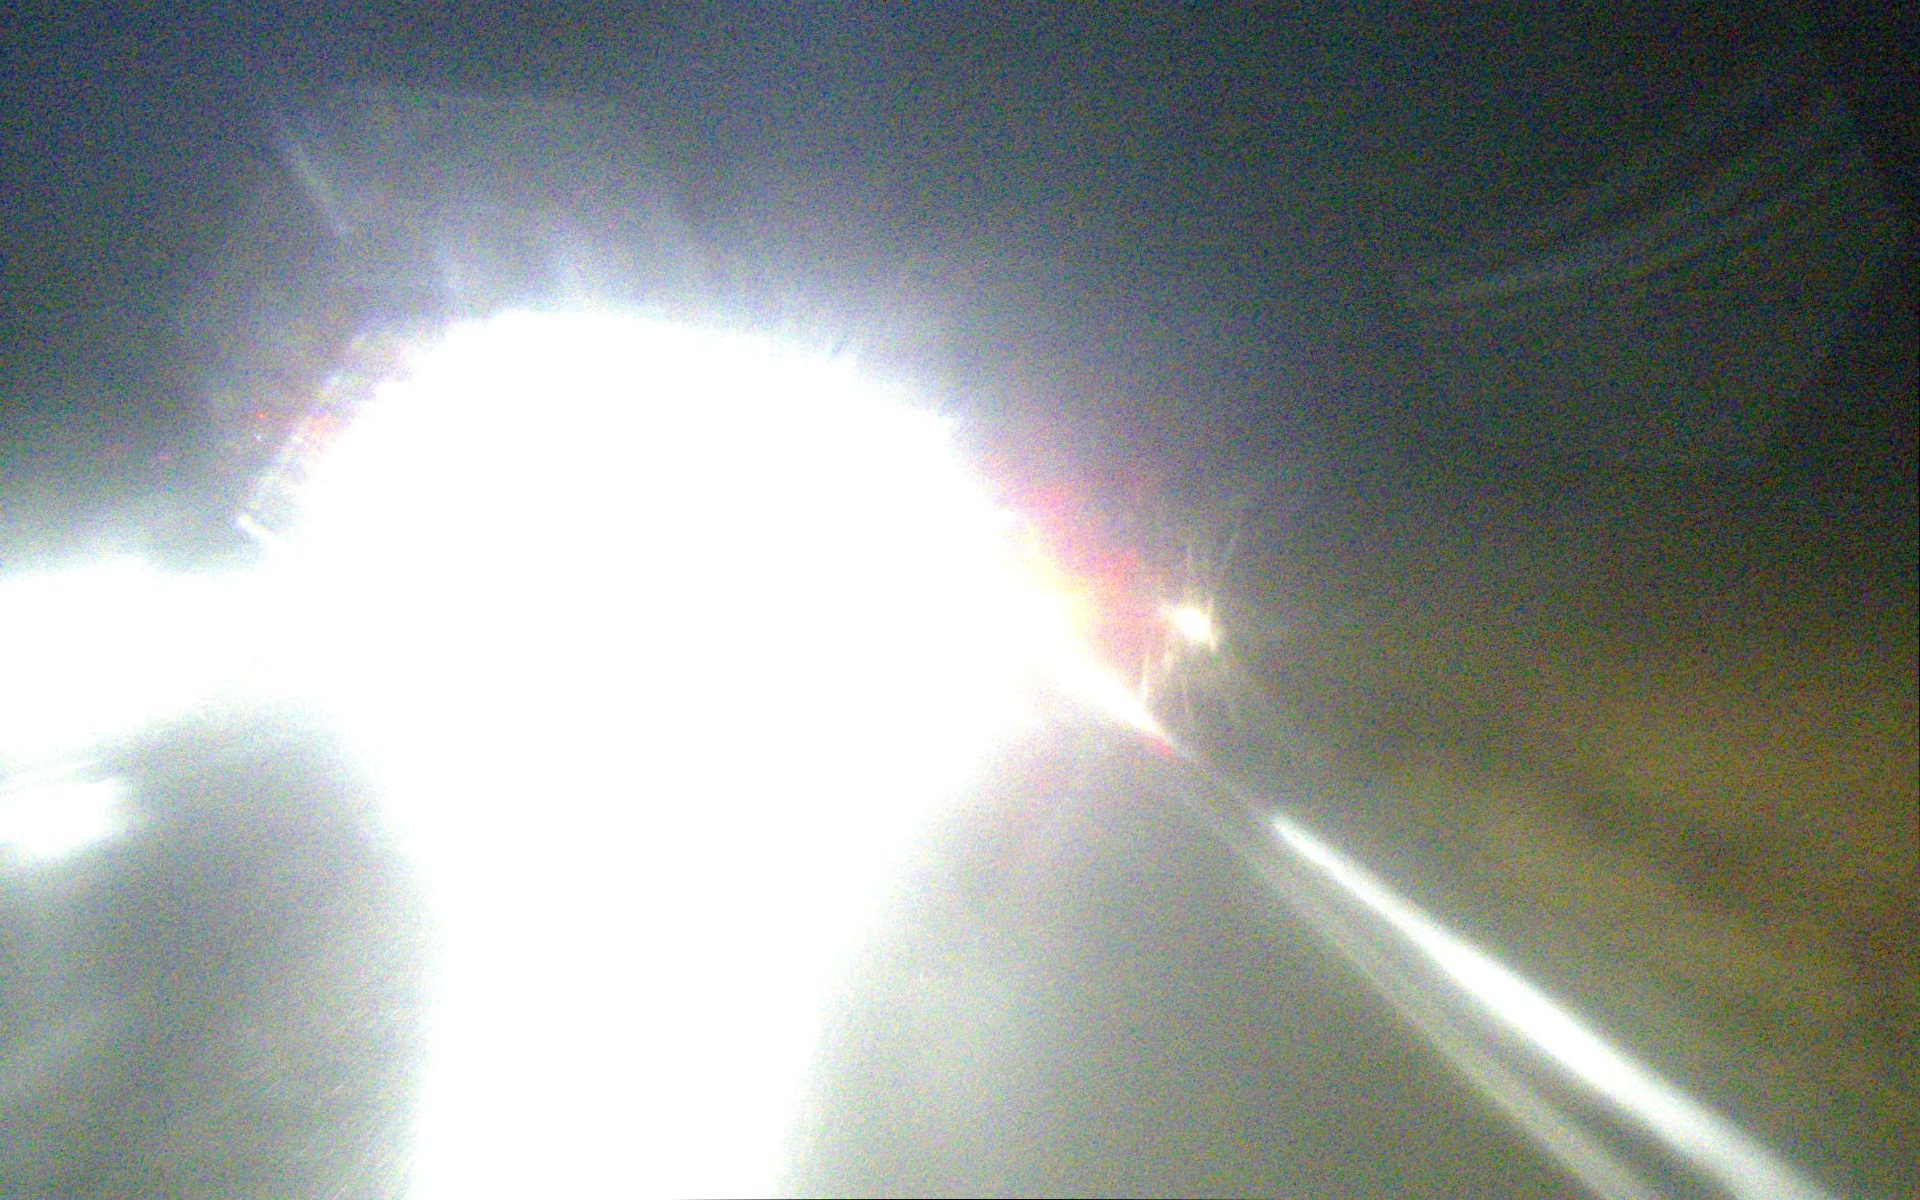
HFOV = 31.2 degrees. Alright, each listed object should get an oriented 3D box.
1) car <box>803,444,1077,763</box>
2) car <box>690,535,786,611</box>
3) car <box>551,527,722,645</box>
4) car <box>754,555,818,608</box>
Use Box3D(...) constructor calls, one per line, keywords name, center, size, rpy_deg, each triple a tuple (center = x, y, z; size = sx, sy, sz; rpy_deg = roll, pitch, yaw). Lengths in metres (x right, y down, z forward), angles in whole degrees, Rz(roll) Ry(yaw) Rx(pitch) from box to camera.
Box3D(name="car", center=(-0.194, -0.068, 30.465), size=(2.181, 2.548, 4.508), rpy_deg=(2, 3, -1))
Box3D(name="car", center=(-4.556, -0.573, 70.848), size=(1.785, 1.505, 3.600), rpy_deg=(1, 1, -1))
Box3D(name="car", center=(-4.319, -0.224, 46.457), size=(1.974, 1.511, 4.347), rpy_deg=(0, 1, -1))
Box3D(name="car", center=(-5.525, -0.612, 109.348), size=(1.859, 1.632, 4.143), rpy_deg=(0, 1, -1))
